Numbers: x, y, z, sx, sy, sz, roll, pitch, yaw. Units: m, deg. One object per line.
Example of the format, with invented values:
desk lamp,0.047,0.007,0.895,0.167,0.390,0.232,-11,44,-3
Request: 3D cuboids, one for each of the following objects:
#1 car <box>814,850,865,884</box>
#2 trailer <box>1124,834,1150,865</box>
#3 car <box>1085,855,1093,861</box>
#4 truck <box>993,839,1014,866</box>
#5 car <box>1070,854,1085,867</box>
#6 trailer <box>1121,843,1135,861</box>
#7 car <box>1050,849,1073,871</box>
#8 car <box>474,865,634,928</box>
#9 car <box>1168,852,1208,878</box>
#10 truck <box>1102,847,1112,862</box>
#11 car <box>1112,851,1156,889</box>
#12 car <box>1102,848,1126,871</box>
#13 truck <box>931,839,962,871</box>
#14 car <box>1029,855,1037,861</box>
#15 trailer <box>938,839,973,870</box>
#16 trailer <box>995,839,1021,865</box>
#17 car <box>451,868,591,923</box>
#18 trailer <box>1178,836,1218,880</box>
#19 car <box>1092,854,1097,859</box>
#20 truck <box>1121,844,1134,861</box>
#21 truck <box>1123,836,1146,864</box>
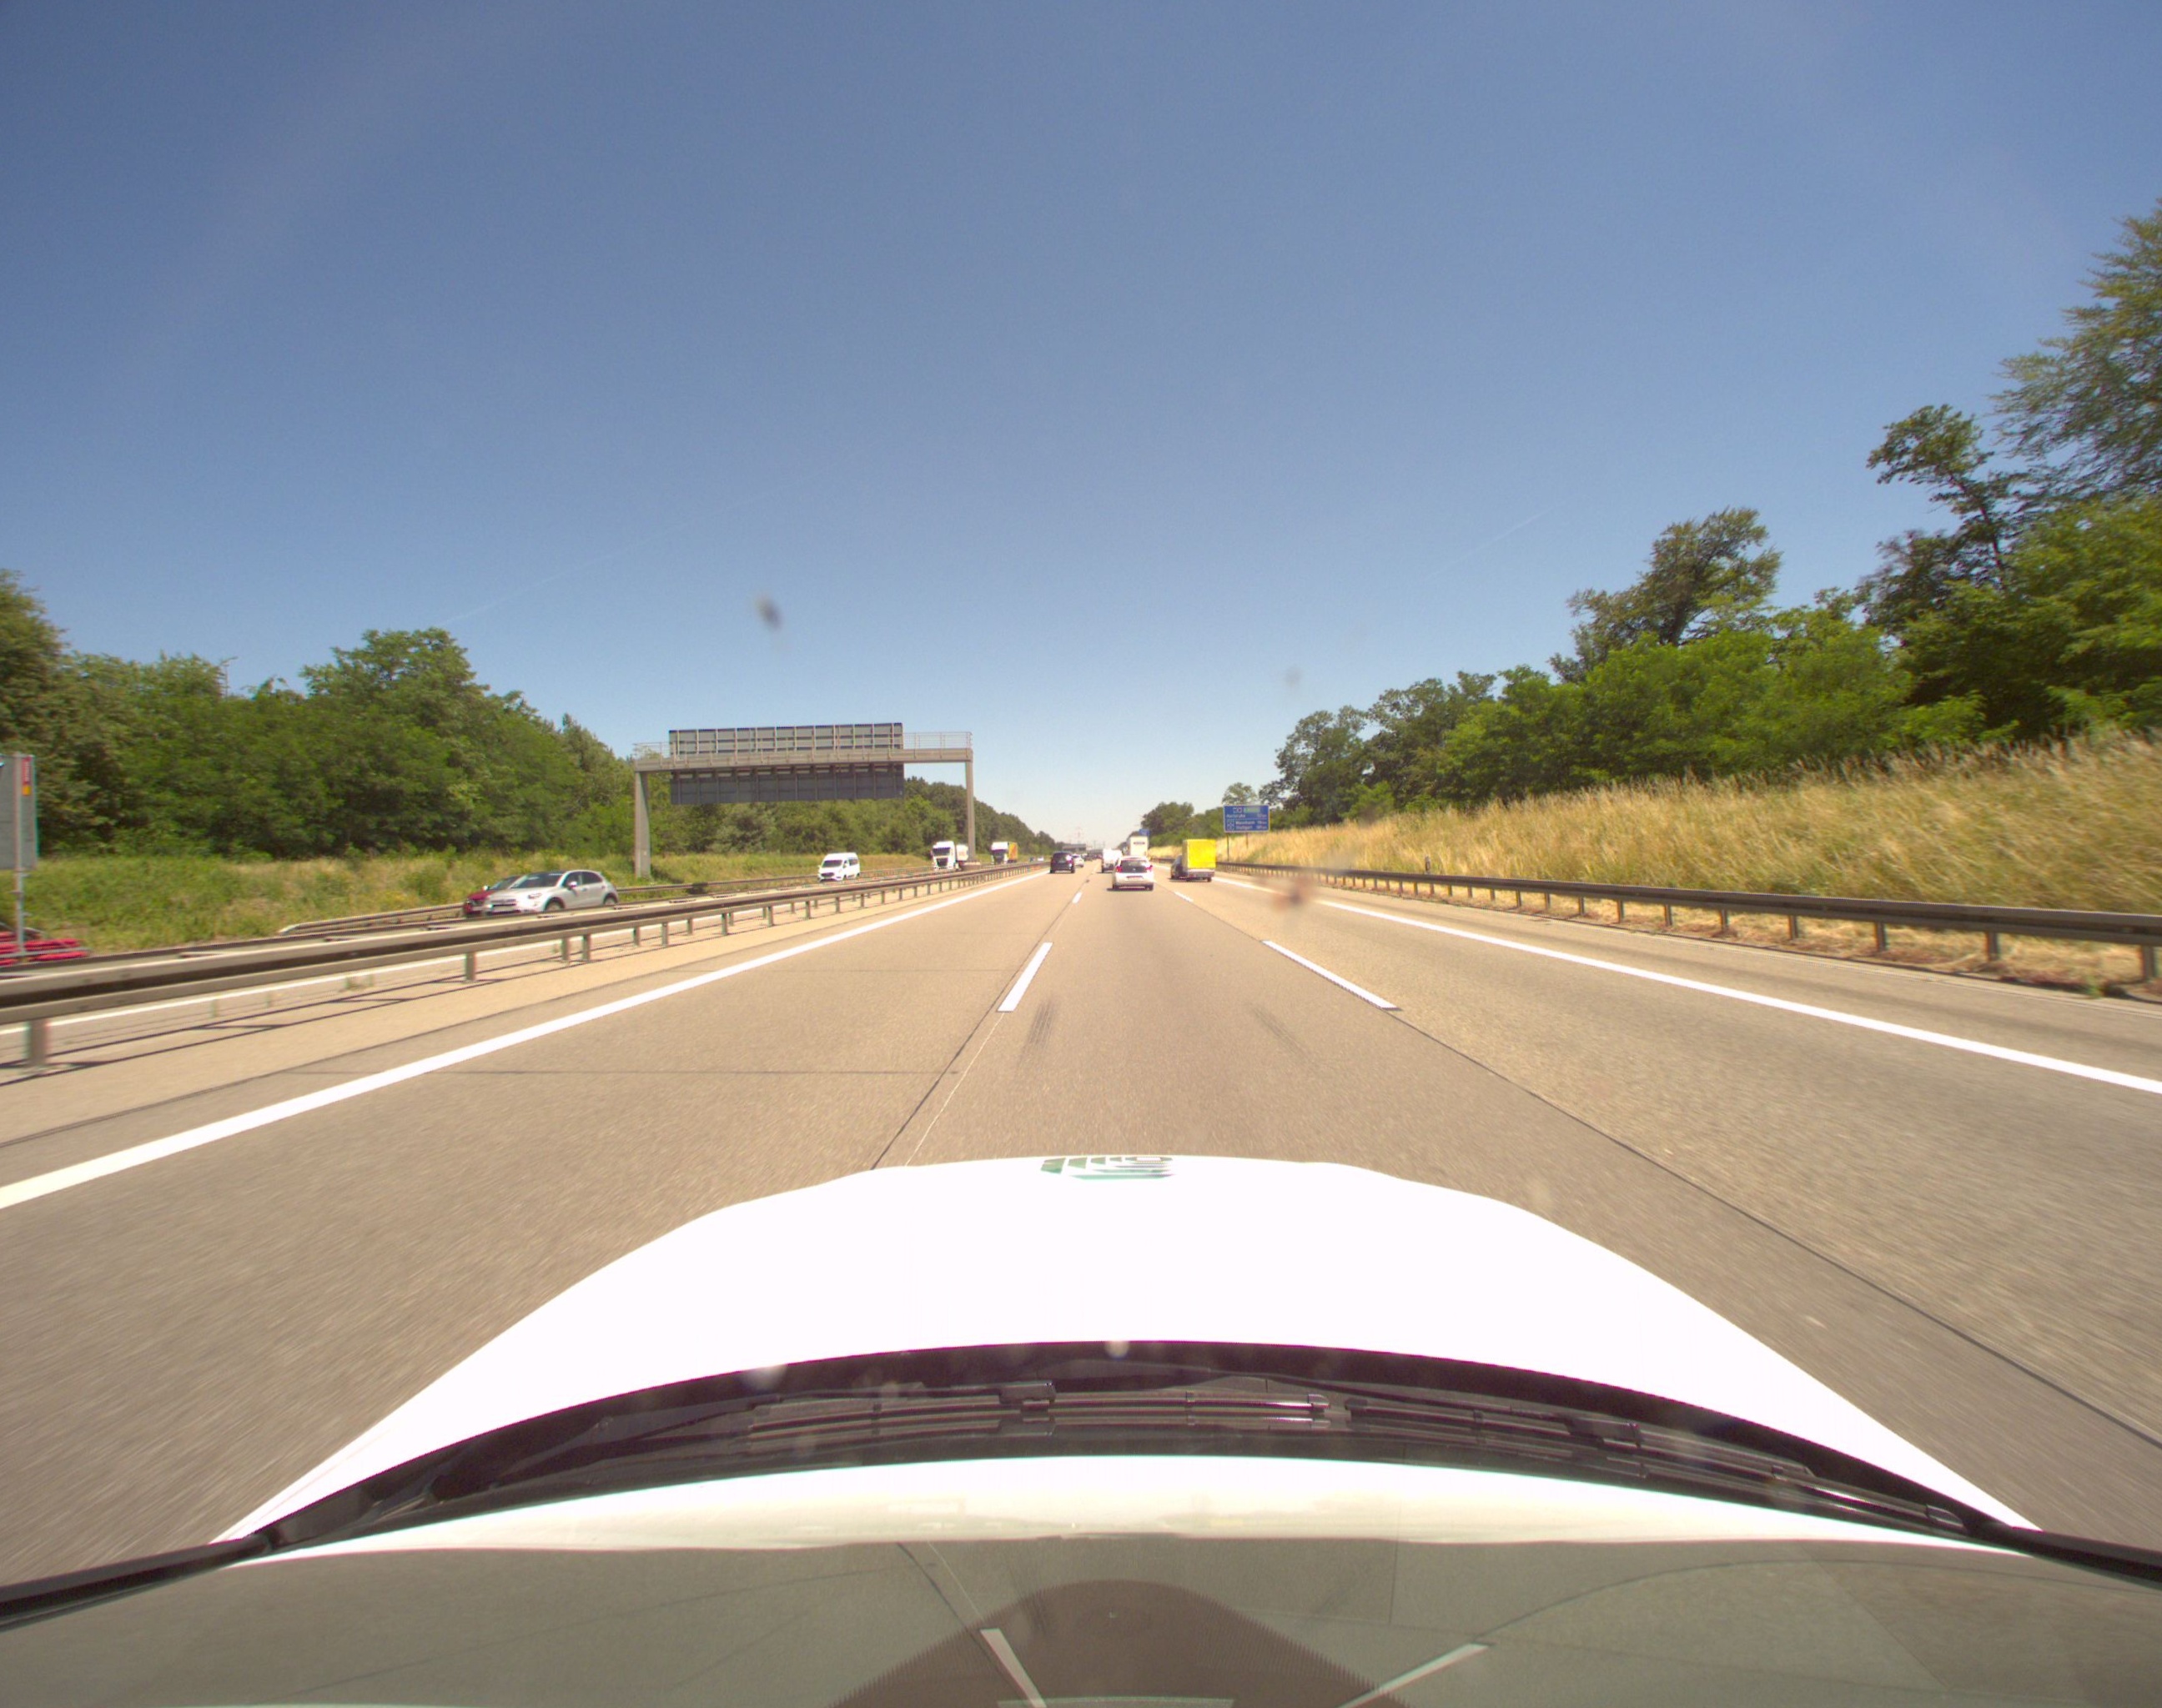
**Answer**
car,-18.456,0.931,62.622,1.981,2.340,5.810,-4,0,1
trailer,8.160,-0.567,120.054,3.274,4.219,13.567,0,0,1
car,1.807,0.854,180.183,1.601,1.300,3.675,0,0,1
truck,-12.384,-0.304,130.408,2.455,4.072,6.289,-4,0,1
car,-0.391,0.785,93.529,1.663,1.401,3.713,-1,0,0
trailer,10.431,-0.414,180.131,2.673,3.837,12.012,0,0,1
car,-1.557,0.470,65.363,1.620,1.755,3.806,0,0,2
car,-15.441,1.175,24.221,1.641,1.499,4.561,-4,0,1
car,6.379,0.639,48.860,1.815,1.456,4.788,0,0,0
truck,5.477,0.111,171.829,2.053,2.914,7.004,-1,0,1
car,2.212,0.653,34.820,1.702,1.495,4.025,0,0,2
car,2.672,0.461,66.890,1.808,1.827,5.111,-1,0,1
truck,-17.562,0.102,106.986,2.616,3.948,6.485,-4,0,1
car,-13.667,1.261,233.011,1.696,1.545,4.537,-4,0,1
trailer,-17.371,0.081,113.351,2.616,3.948,11.161,-4,0,1
trailer,-12.215,-0.319,136.908,2.455,4.072,14.283,-4,0,2
car,-19.755,1.412,29.026,1.640,1.591,4.613,-4,0,1
trailer,6.359,0.211,44.544,1.697,2.289,3.840,0,0,0
car,3.716,0.706,229.410,1.400,1.131,3.359,0,0,2
truck,10.571,-0.383,185.903,2.673,3.837,4.445,0,-1,1
truck,8.313,-0.563,127.075,3.274,4.219,6.008,0,0,1
